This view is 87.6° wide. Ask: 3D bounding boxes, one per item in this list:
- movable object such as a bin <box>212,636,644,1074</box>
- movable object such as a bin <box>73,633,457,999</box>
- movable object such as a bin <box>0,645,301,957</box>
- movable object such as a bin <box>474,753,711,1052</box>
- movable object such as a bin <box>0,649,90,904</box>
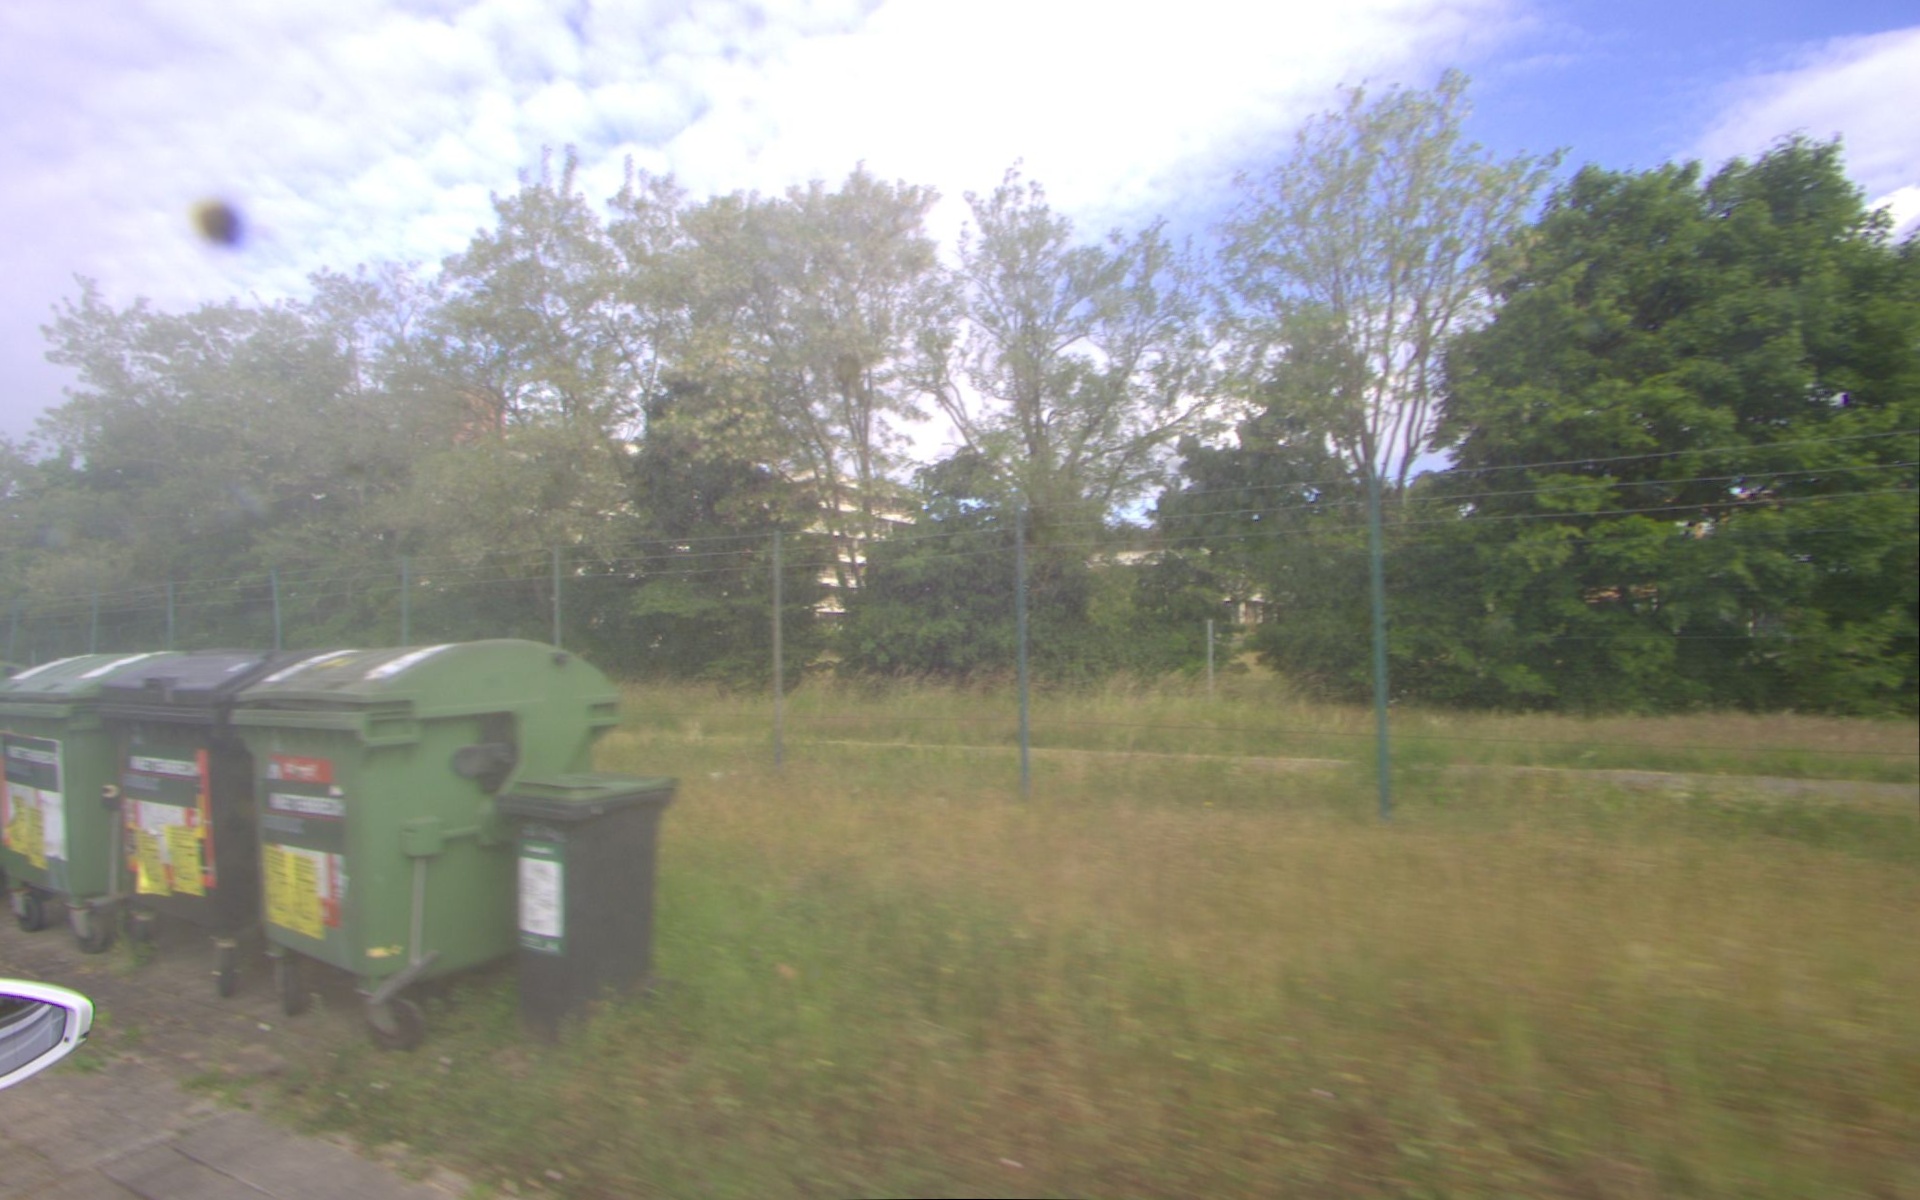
[{"bbox_3d":[-2.186,0.872,4.120,1.340,1.413,1.124,-3,-3,38],"label":"movable object such as a bin"},{"bbox_3d":[-3.327,0.906,4.818,1.379,1.453,1.067,-3,-3,32],"label":"movable object such as a bin"},{"bbox_3d":[-4.488,0.973,5.428,1.366,1.423,1.067,-3,-3,32],"label":"movable object such as a bin"},{"bbox_3d":[-1.340,1.042,3.661,0.578,0.876,0.597,-3,-3,38],"label":"movable object such as a bin"},{"bbox_3d":[-6.007,1.016,5.911,1.369,1.415,1.118,-3,-3,40],"label":"movable object such as a bin"}]
